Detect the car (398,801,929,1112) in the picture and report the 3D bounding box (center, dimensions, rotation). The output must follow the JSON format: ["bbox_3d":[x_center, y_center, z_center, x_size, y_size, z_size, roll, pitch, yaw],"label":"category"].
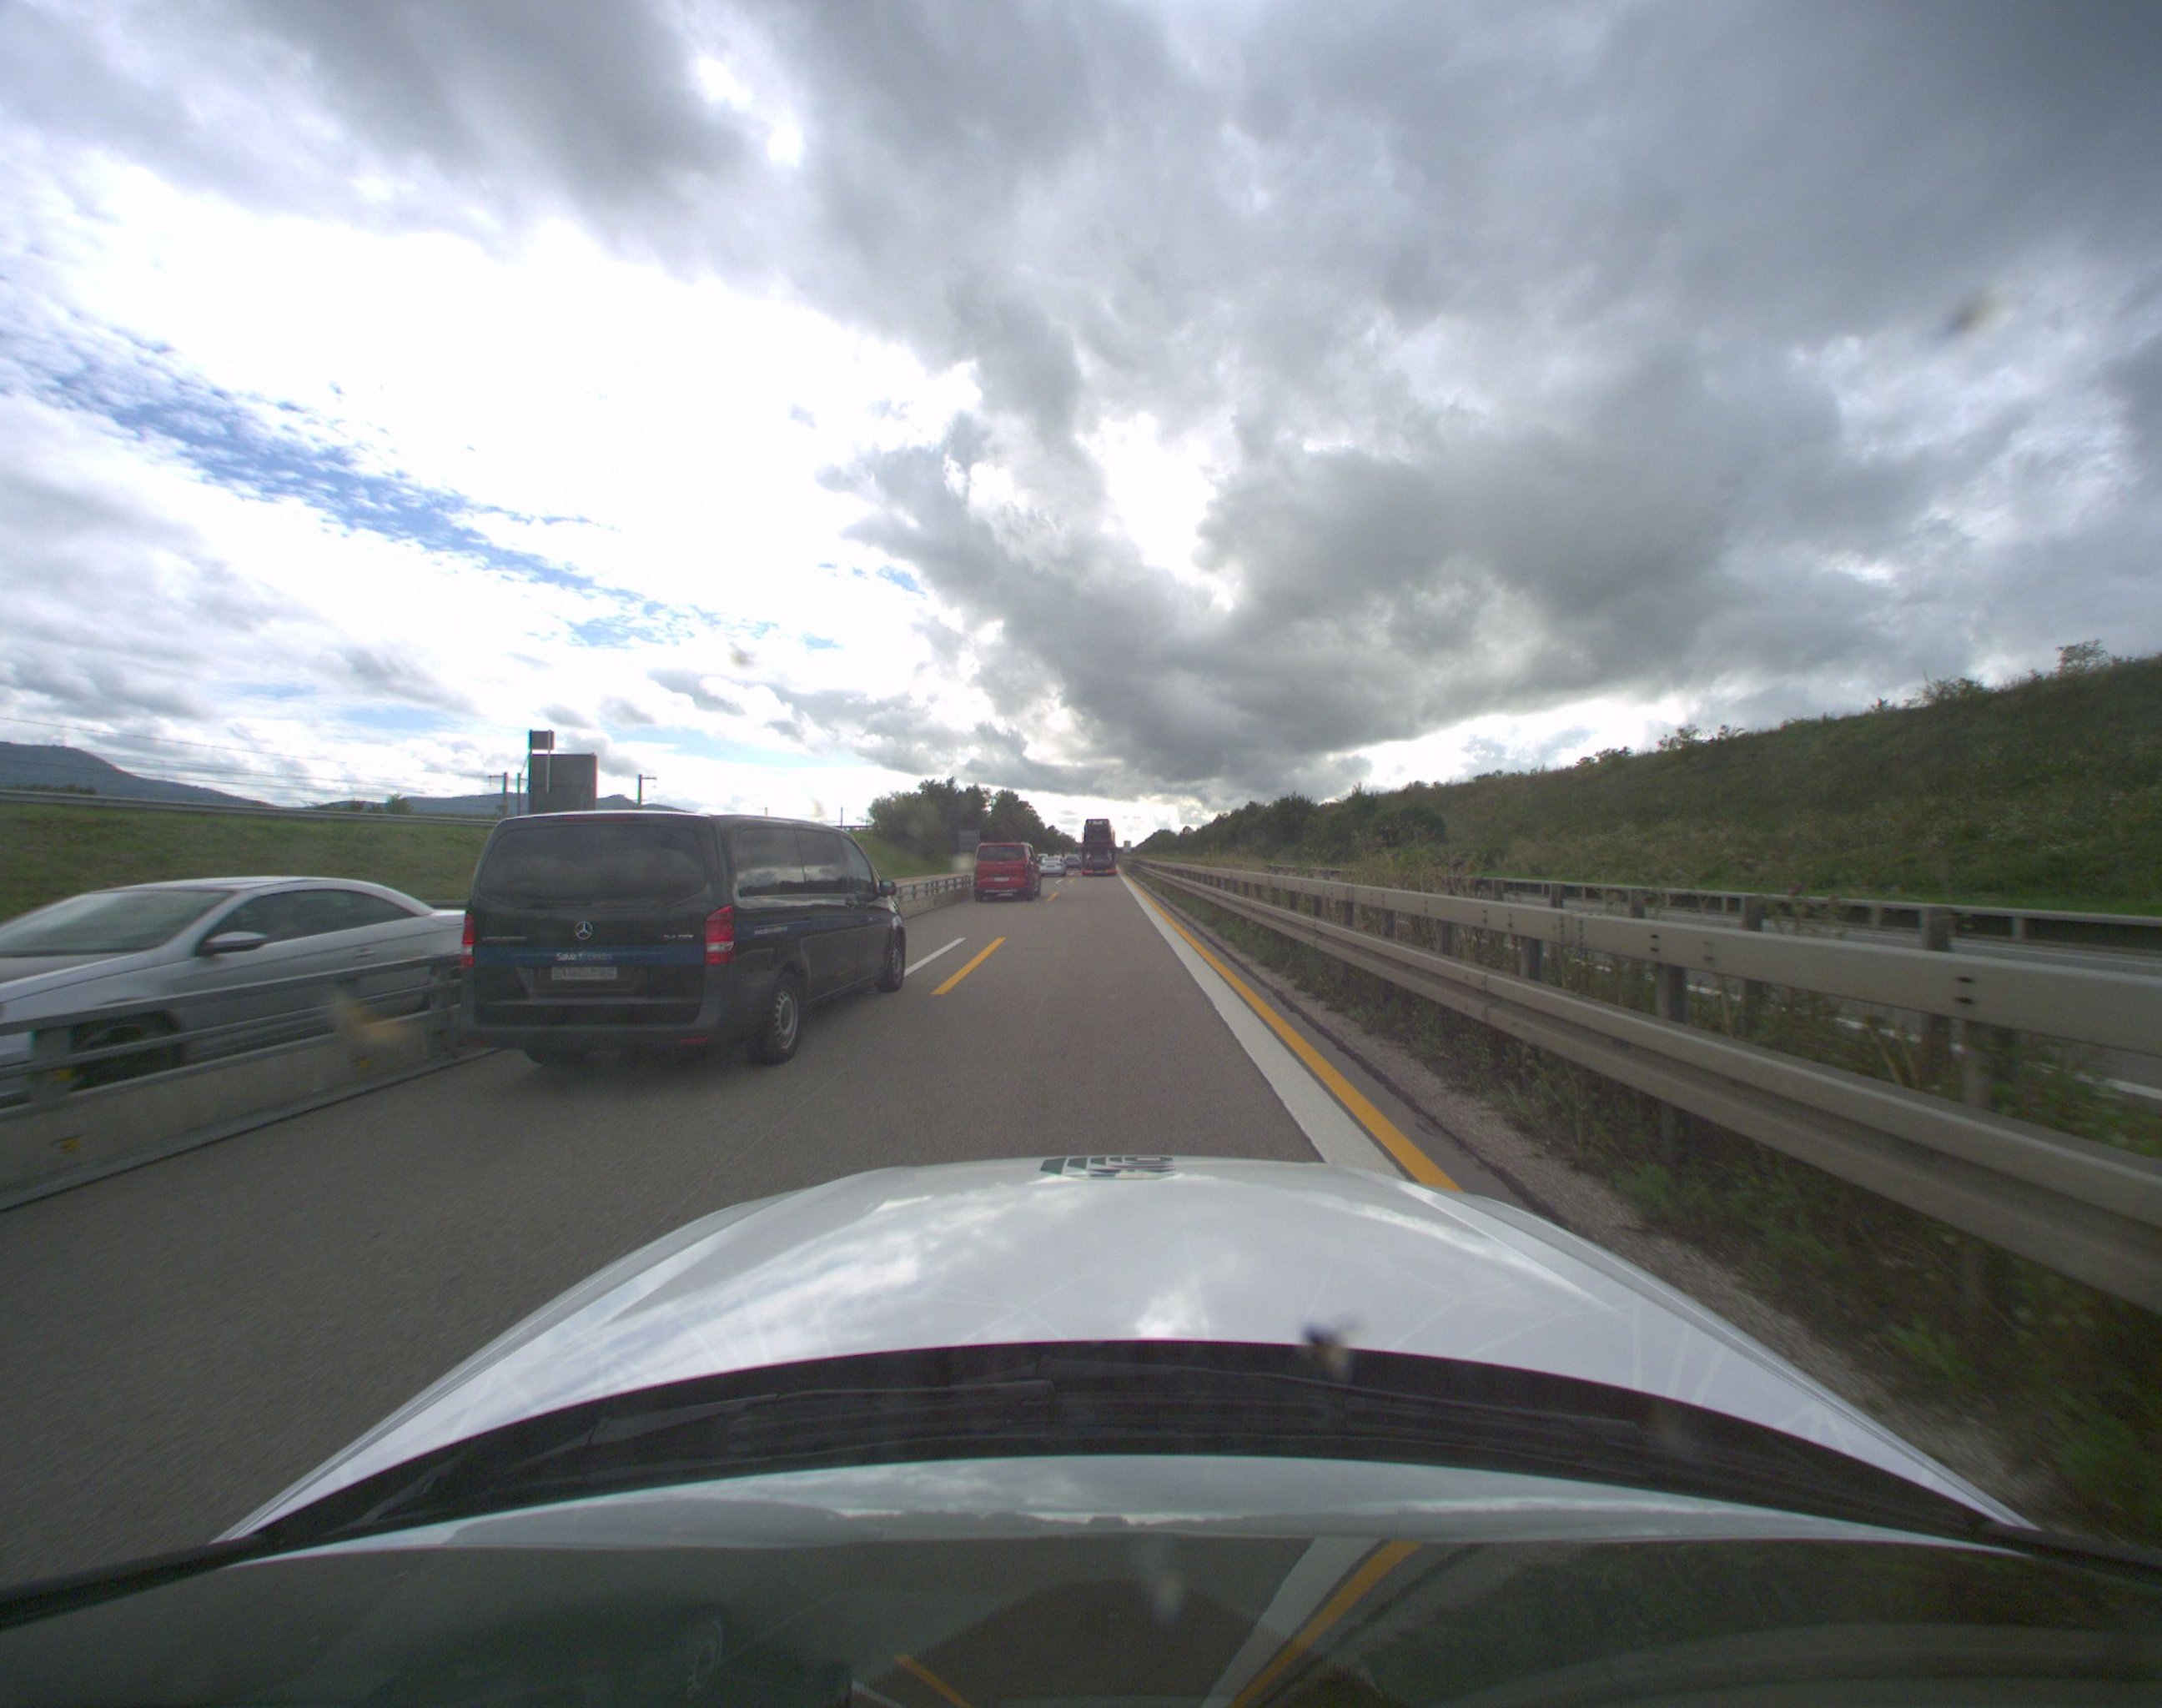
[{"bbox_3d":[-3.070,0.628,7.763,1.986,1.843,5.611,-2,0,2],"label":"car"}]

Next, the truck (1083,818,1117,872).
[{"bbox_3d":[1.586,-0.705,65.843,2.505,4.105,5.688,-1,0,2],"label":"truck"}]

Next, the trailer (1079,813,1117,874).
[{"bbox_3d":[1.392,-0.715,61.031,2.505,4.105,11.119,-1,0,2],"label":"trailer"}]

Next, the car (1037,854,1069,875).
[{"bbox_3d":[-1.938,0.736,58.395,2.024,1.430,4.578,-1,0,1],"label":"car"}]

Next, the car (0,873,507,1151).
[{"bbox_3d":[-6.656,0.901,6.184,1.752,1.388,3.999,-1,0,0],"label":"car"}]

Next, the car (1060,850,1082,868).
[{"bbox_3d":[-1.024,0.517,83.474,2.024,1.757,4.578,-1,0,1],"label":"car"}]

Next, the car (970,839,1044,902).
[{"bbox_3d":[-2.508,0.546,28.763,2.023,2.013,4.579,-1,0,2],"label":"car"}]

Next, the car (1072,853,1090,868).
[{"bbox_3d":[0.052,0.730,97.960,2.024,1.757,4.578,-1,0,1],"label":"car"}]
